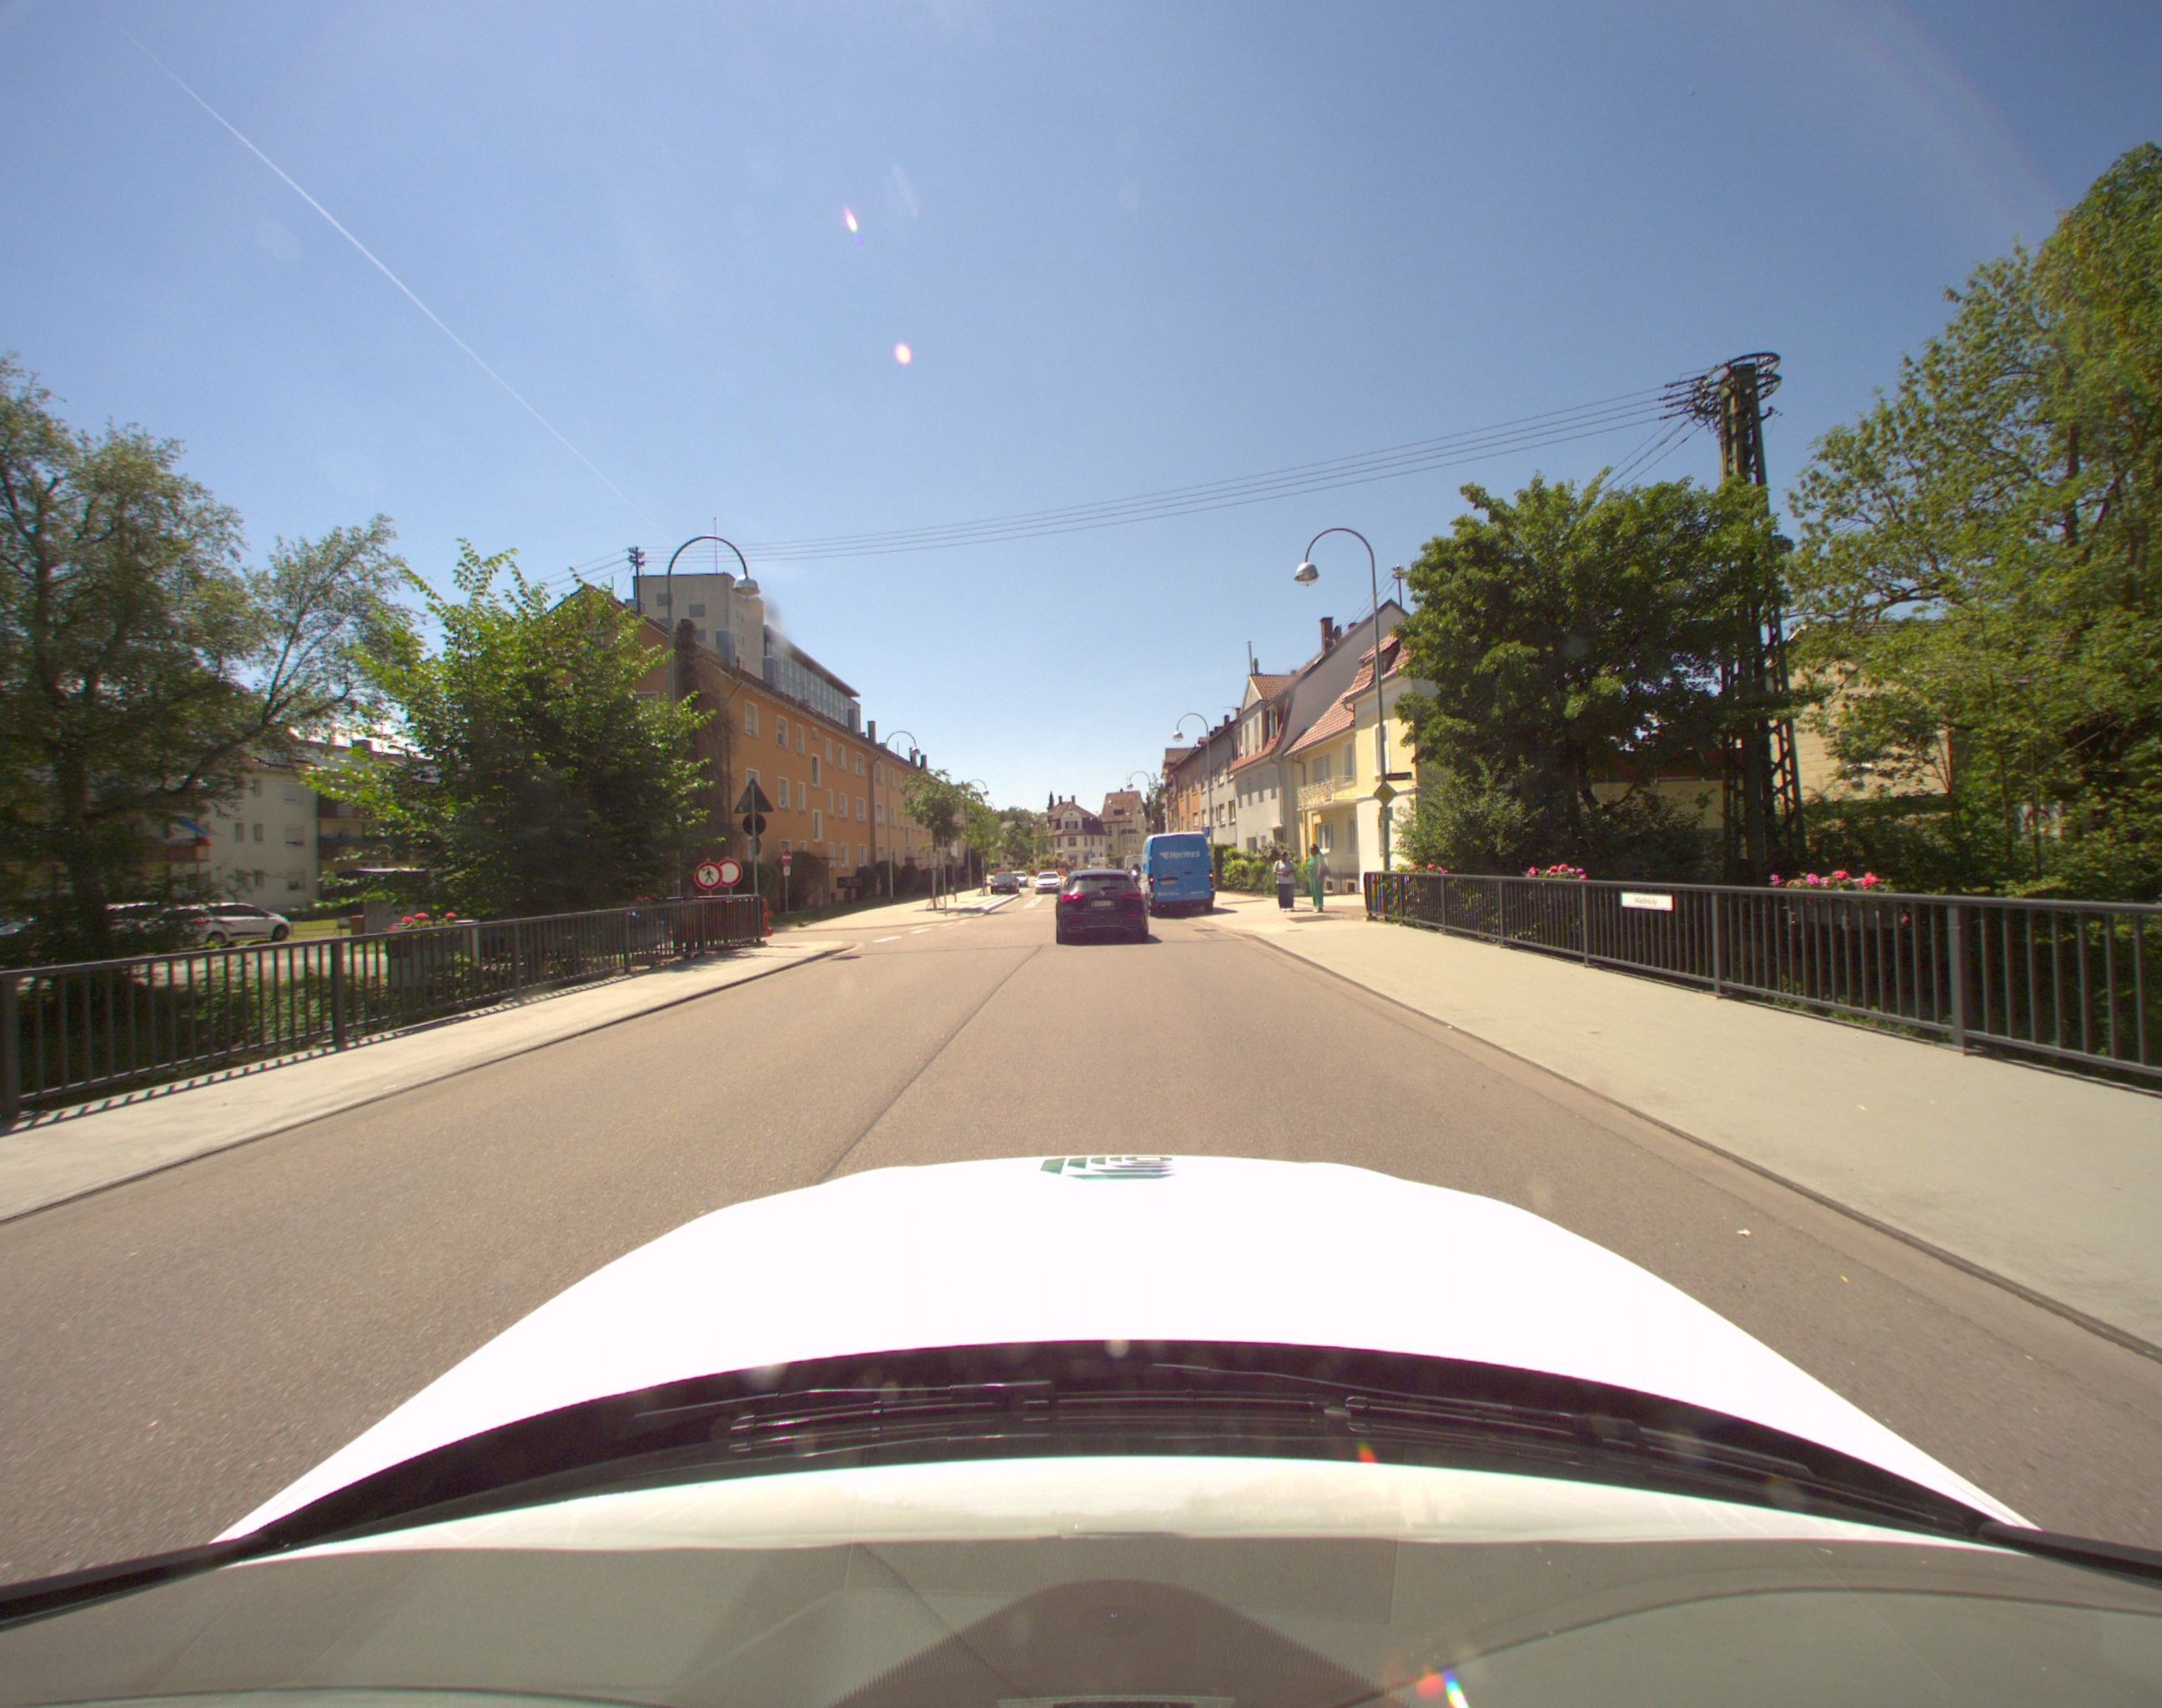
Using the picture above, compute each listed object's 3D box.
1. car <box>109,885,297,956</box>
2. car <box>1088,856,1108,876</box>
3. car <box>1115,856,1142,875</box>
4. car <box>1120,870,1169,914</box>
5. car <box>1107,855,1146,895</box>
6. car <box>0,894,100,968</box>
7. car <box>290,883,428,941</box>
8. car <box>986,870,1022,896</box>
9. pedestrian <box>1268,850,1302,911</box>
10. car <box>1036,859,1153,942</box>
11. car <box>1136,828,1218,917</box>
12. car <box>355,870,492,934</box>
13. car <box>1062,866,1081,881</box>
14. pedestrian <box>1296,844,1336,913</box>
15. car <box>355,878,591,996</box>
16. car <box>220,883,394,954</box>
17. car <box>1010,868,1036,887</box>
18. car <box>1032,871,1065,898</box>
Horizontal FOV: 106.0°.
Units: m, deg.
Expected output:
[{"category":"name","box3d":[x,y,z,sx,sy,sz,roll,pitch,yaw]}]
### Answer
[{"category":"car","box3d":[-29.524,2.178,27.608,1.988,2.013,3.998,-2,0,-1]},{"category":"car","box3d":[2.050,1.465,100.602,2.237,2.343,4.853,-4,-1,1]},{"category":"car","box3d":[3.906,0.961,67.324,1.987,1.392,4.329,-2,1,1]},{"category":"car","box3d":[2.938,1.728,38.594,1.987,1.745,4.329,-2,1,1]},{"category":"car","box3d":[2.514,1.130,46.057,1.987,2.013,4.001,-2,1,1]},{"category":"car","box3d":[-31.642,2.270,23.426,1.988,2.013,3.998,-2,0,-1]},{"category":"car","box3d":[-29.089,2.290,33.005,1.988,2.013,3.998,-2,0,-1]},{"category":"car","box3d":[-5.343,1.993,56.997,1.986,1.659,4.001,0,0,1]},{"category":"pedestrian","box3d":[5.523,0.706,22.115,0.612,1.612,0.836,-2,-1,-4]},{"category":"car","box3d":[0.147,0.981,17.034,1.827,1.442,3.988,-2,-3,-8]},{"category":"car","box3d":[2.963,0.545,26.128,2.125,2.541,4.651,-2,0,2]},{"category":"car","box3d":[-26.147,1.838,32.598,2.069,2.233,4.003,-2,0,3]},{"category":"car","box3d":[-1.101,2.291,94.453,1.986,1.659,4.001,0,0,1]},{"category":"pedestrian","box3d":[6.077,0.618,21.089,0.662,1.741,0.698,-2,-1,-16]},{"category":"car","box3d":[-12.744,1.633,17.468,1.988,2.013,3.999,-2,1,-1]},{"category":"car","box3d":[-26.260,2.117,27.856,1.985,2.013,4.003,-2,0,3]},{"category":"car","box3d":[-5.180,2.089,73.308,1.986,1.659,4.001,0,0,1]},{"category":"car","box3d":[-2.185,2.050,55.337,1.986,1.659,4.001,0,0,1]}]
